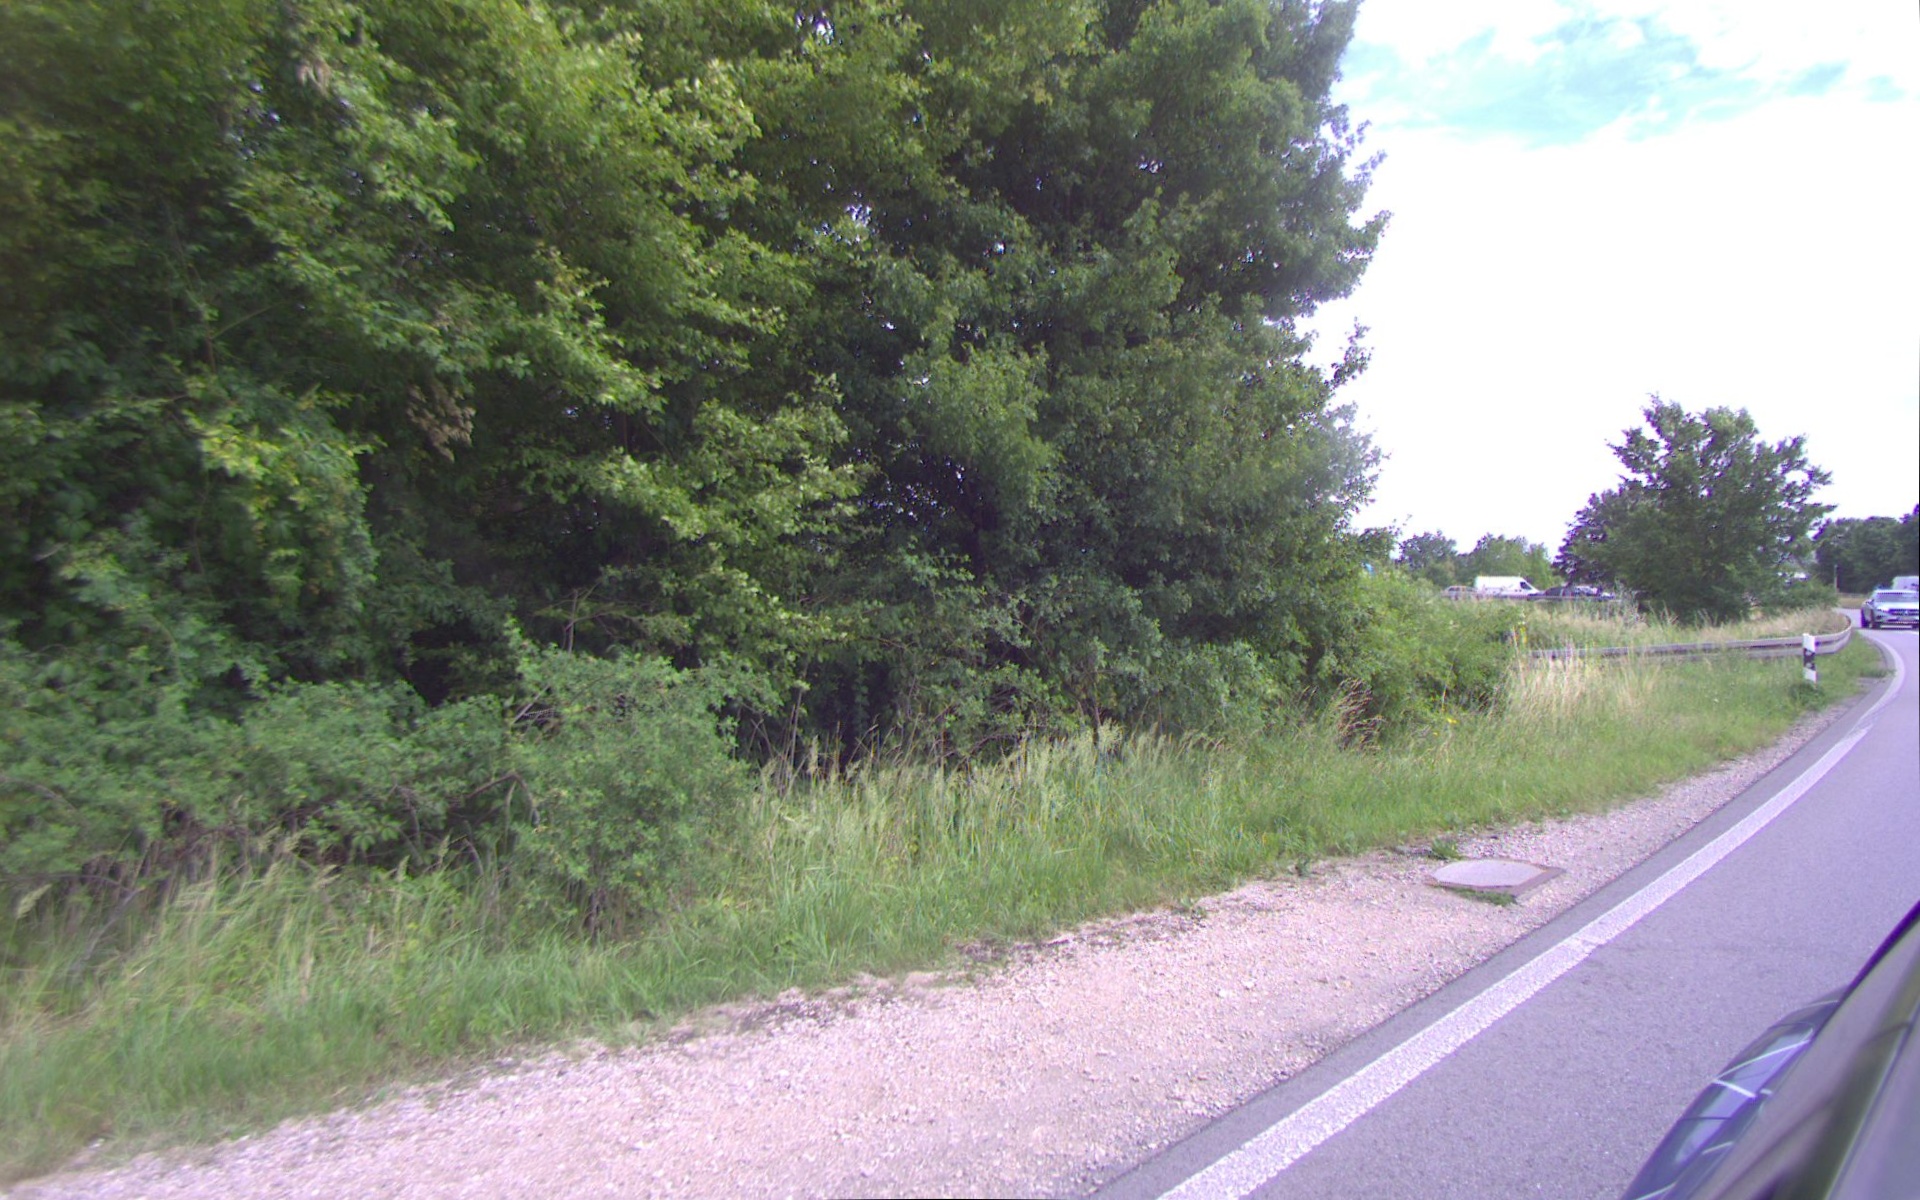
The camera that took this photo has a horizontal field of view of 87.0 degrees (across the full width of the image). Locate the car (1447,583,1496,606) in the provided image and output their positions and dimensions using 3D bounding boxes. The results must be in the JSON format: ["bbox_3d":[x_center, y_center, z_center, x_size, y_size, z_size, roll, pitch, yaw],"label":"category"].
[{"bbox_3d":[48.059,-0.505,95.183,3.960,2.039,1.914,2,0,26],"label":"car"}]

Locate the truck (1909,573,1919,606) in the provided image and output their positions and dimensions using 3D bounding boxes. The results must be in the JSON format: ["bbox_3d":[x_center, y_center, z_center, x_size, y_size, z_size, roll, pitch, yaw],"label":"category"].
[{"bbox_3d":[72.393,-0.802,75.184,2.016,2.475,4.963,0,0,34],"label":"truck"}]

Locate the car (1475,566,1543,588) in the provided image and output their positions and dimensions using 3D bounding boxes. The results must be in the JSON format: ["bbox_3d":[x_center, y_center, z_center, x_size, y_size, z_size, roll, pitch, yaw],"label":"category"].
[{"bbox_3d":[54.250,-2.257,100.177,5.838,2.039,2.043,0,0,26],"label":"car"}]

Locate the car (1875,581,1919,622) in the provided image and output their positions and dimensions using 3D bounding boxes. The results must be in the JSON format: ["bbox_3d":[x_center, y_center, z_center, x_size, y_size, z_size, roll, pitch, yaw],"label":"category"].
[{"bbox_3d":[39.016,0.051,41.466,2.012,1.633,4.220,0,0,39],"label":"car"}]

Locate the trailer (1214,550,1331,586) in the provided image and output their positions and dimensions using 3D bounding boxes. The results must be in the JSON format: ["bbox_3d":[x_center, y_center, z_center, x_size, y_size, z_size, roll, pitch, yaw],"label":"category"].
[{"bbox_3d":[31.528,-3.168,102.346,11.118,3.352,2.370,0,0,26],"label":"trailer"}]

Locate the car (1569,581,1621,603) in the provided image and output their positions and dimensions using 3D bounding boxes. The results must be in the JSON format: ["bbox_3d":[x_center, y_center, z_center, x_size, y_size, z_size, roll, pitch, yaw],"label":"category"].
[{"bbox_3d":[59.193,-0.735,94.465,3.963,2.039,1.980,1,1,29],"label":"car"}]

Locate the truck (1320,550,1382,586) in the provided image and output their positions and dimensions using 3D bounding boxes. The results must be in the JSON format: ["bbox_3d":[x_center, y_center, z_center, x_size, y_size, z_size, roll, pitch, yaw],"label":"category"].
[{"bbox_3d":[38.273,-3.112,99.178,5.530,3.347,2.374,0,0,22],"label":"truck"}]

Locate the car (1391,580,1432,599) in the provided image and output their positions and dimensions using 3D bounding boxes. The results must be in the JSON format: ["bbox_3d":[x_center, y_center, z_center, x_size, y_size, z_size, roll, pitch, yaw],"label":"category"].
[{"bbox_3d":[47.992,-1.105,107.621,3.959,2.039,1.914,0,0,26],"label":"car"}]
